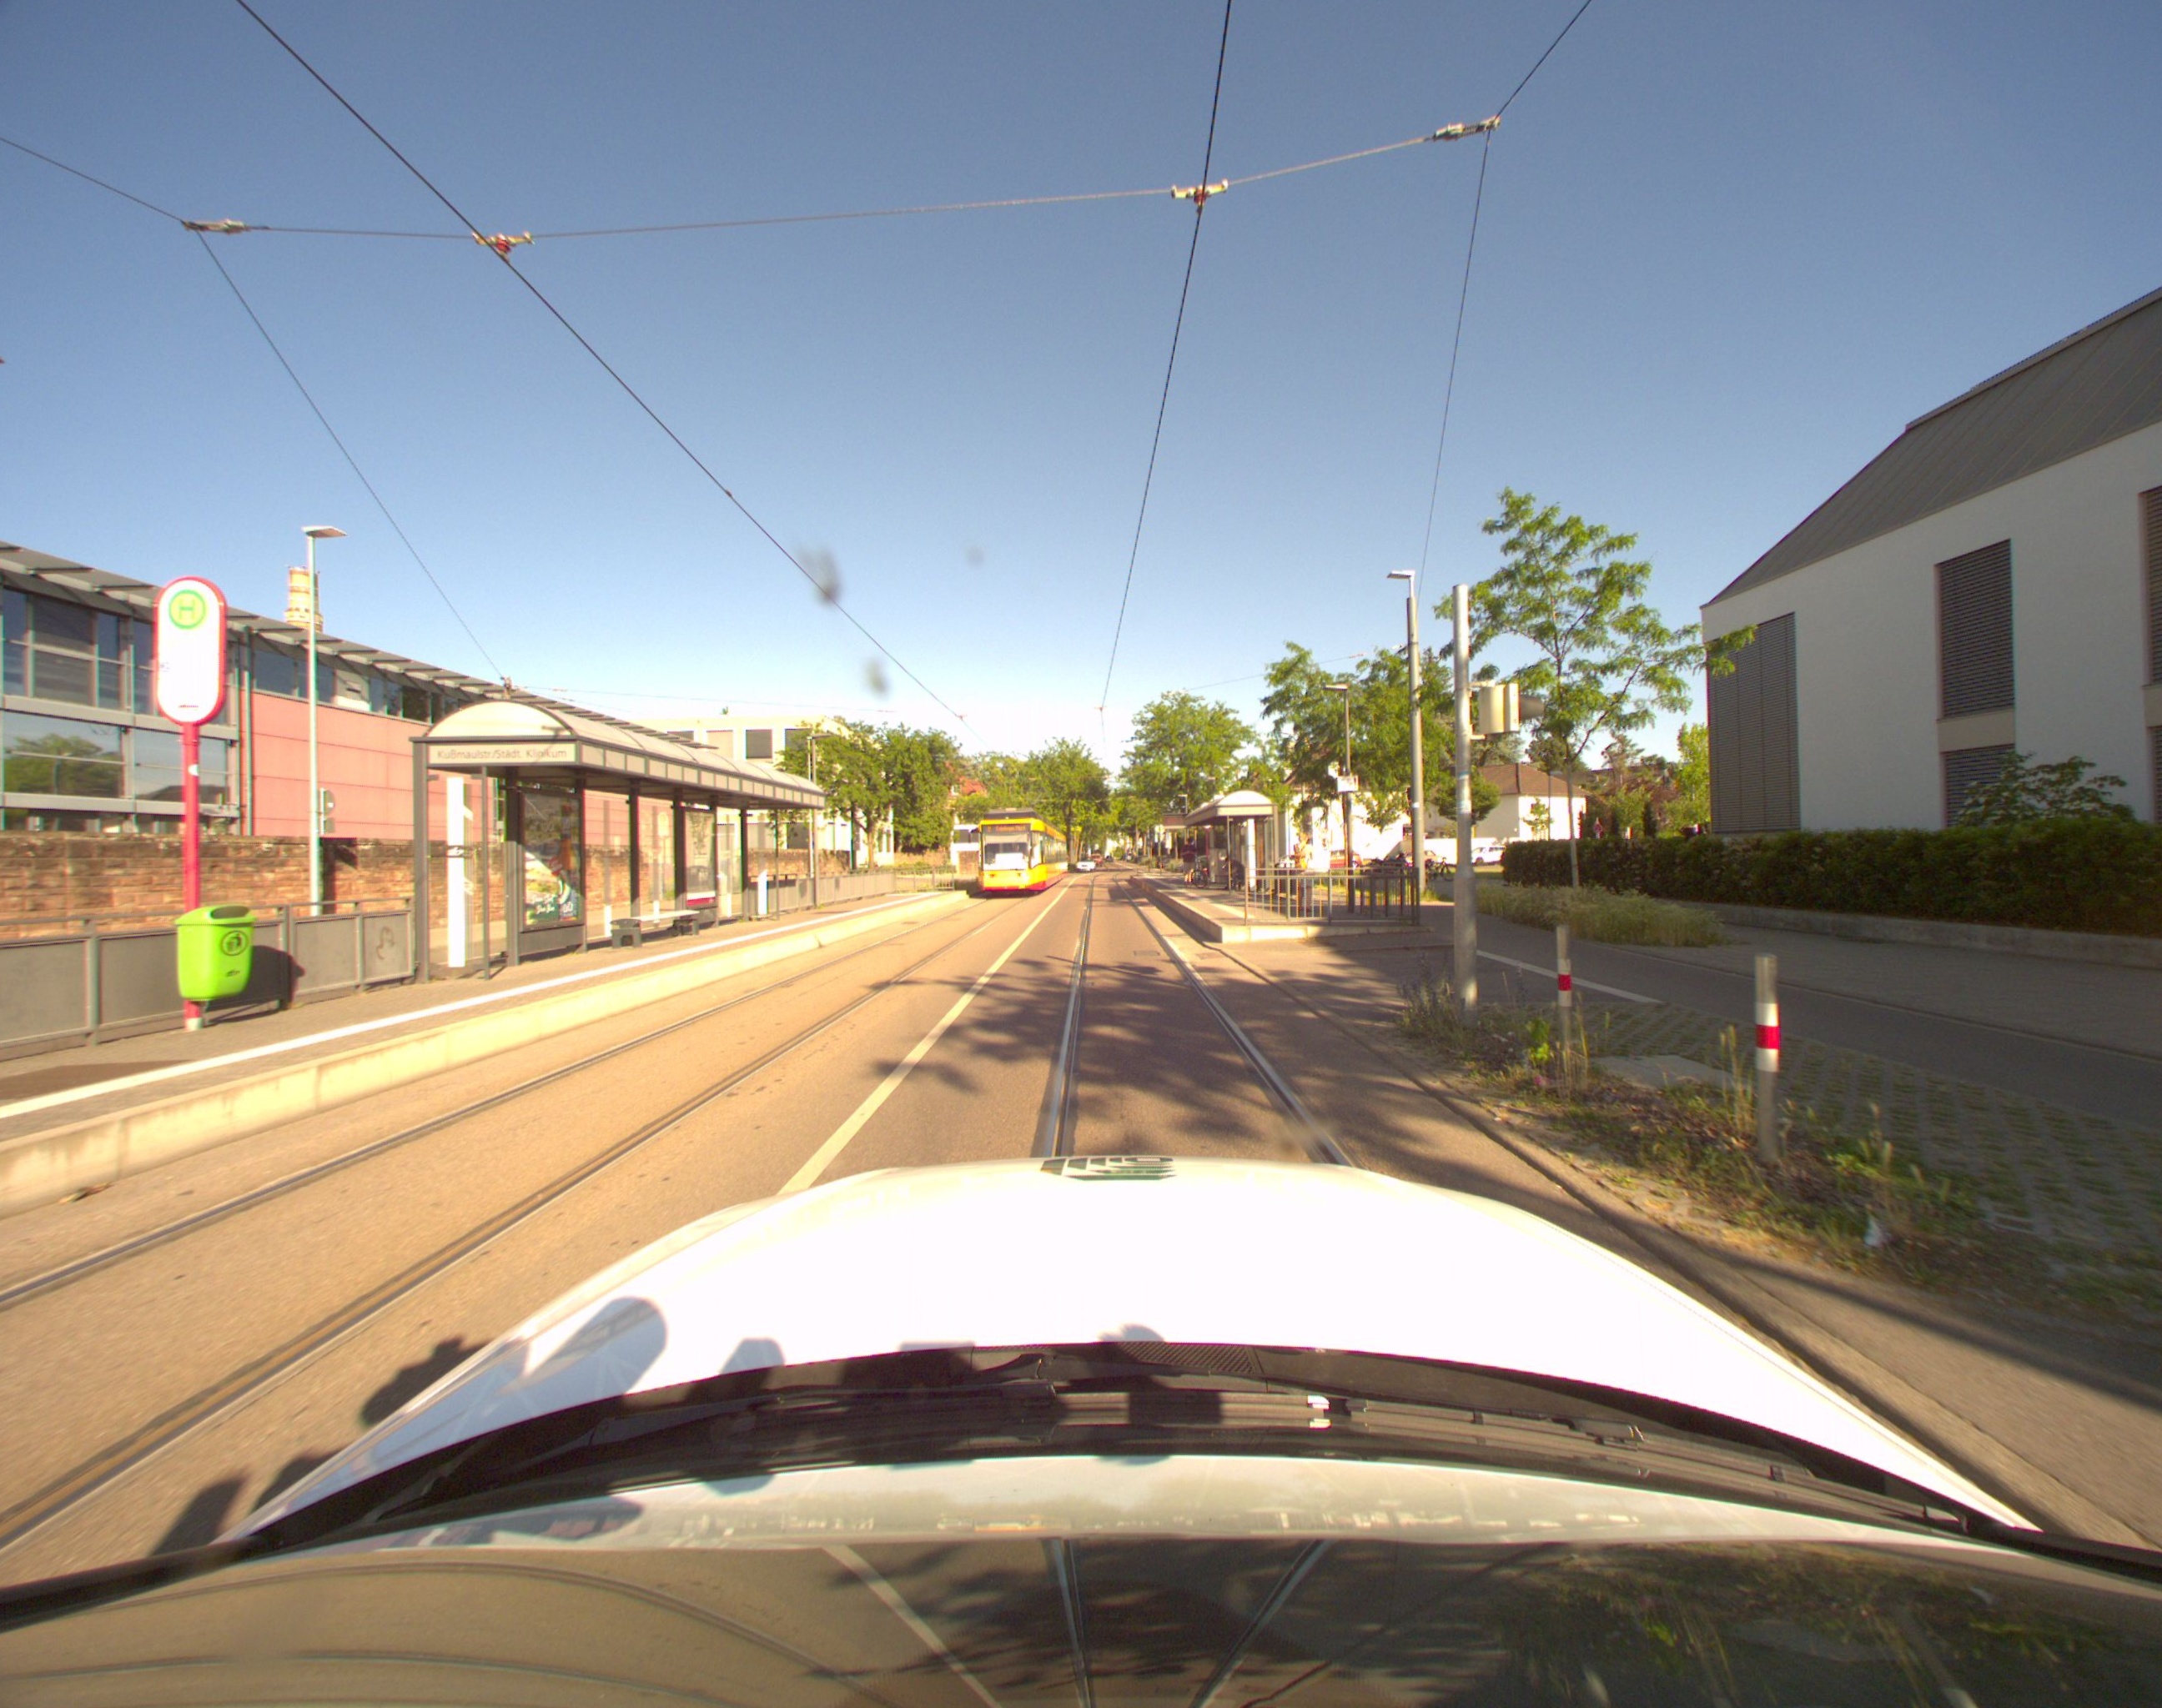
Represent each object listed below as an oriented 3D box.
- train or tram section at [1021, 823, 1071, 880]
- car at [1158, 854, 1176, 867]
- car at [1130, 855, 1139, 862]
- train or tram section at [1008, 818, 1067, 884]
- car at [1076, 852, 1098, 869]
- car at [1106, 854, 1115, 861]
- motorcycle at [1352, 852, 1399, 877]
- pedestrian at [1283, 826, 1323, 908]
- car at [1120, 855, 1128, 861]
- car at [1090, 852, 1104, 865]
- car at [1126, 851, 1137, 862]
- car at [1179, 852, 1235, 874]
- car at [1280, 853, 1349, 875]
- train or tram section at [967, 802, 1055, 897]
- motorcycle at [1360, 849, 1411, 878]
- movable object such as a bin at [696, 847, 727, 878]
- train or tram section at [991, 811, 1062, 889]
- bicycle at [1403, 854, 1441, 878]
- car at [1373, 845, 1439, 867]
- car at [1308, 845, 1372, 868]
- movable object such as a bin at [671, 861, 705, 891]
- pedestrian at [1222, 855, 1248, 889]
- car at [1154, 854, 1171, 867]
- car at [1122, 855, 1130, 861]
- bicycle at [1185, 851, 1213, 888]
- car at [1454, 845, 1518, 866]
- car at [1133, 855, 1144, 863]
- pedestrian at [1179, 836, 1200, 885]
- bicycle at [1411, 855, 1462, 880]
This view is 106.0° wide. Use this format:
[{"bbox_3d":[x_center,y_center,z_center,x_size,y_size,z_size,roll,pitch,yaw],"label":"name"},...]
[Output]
[{"bbox_3d":[-2.202,-0.161,53.262,2.794,3.459,6.670,-1,0,1],"label":"train or tram section"},{"bbox_3d":[10.430,0.827,99.476,1.742,1.495,4.444,-2,0,1],"label":"car"},{"bbox_3d":[11.364,0.921,174.194,1.621,1.397,3.646,-4,0,1],"label":"car"},{"bbox_3d":[-2.375,-0.160,46.581,2.794,3.459,6.670,-1,0,1],"label":"train or tram section"},{"bbox_3d":[0.616,0.663,82.338,1.755,1.663,4.217,-2,0,6],"label":"car"},{"bbox_3d":[7.185,0.798,199.194,1.858,1.675,4.177,-2,0,4],"label":"car"},{"bbox_3d":[14.504,0.524,40.127,1.995,1.158,0.860,-2,0,-6],"label":"motorcycle"},{"bbox_3d":[4.657,0.270,17.126,0.669,1.704,0.690,0,0,0],"label":"pedestrian"},{"bbox_3d":[12.947,1.134,245.320,1.993,1.675,4.398,-3,0,5],"label":"car"},{"bbox_3d":[2.462,0.688,127.907,1.988,1.966,4.930,-1,0,-2],"label":"car"},{"bbox_3d":[12.075,0.619,195.612,2.238,2.654,5.586,-2,0,1],"label":"car"},{"bbox_3d":[9.390,0.666,60.478,3.962,1.508,1.988,-1,0,10],"label":"car"},{"bbox_3d":[16.698,0.740,58.511,4.573,1.466,1.988,-2,-2,11],"label":"car"},{"bbox_3d":[-2.674,-0.161,33.190,2.794,3.459,6.670,-1,0,1],"label":"train or tram section"},{"bbox_3d":[14.403,0.440,38.539,2.074,1.274,0.860,-2,0,-6],"label":"motorcycle"},{"bbox_3d":[-17.894,0.426,39.499,0.878,1.447,1.309,-2,0,0],"label":"movable object such as a bin"},{"bbox_3d":[-2.525,-0.161,39.887,2.794,3.459,6.670,-1,0,1],"label":"train or tram section"},{"bbox_3d":[14.701,0.521,35.074,1.468,0.979,0.415,-2,-1,-6],"label":"bicycle"},{"bbox_3d":[24.437,0.159,61.333,4.157,1.508,1.978,-1,0,-6],"label":"car"},{"bbox_3d":[19.287,0.189,60.790,4.150,1.642,1.981,-1,0,-1],"label":"car"},{"bbox_3d":[-17.424,0.961,36.143,0.878,1.285,1.309,-2,0,-1],"label":"movable object such as a bin"},{"bbox_3d":[5.126,0.590,27.168,0.735,1.117,0.658,0,0,0],"label":"pedestrian"},{"bbox_3d":[10.571,0.820,105.784,1.742,1.495,3.997,-2,0,1],"label":"car"},{"bbox_3d":[12.547,1.068,227.827,1.996,1.675,4.392,-3,0,1],"label":"car"},{"bbox_3d":[4.120,0.521,28.510,0.618,1.229,1.965,-1,0,-3],"label":"bicycle"},{"bbox_3d":[30.985,0.124,62.292,4.172,1.508,1.971,-1,0,-17],"label":"car"},{"bbox_3d":[11.657,0.982,164.733,1.779,1.448,4.299,-4,0,-1],"label":"car"},{"bbox_3d":[4.107,0.236,30.843,0.708,1.853,0.729,0,0,2],"label":"pedestrian"},{"bbox_3d":[14.670,0.559,33.596,1.895,0.979,0.490,-2,0,-6],"label":"bicycle"}]
